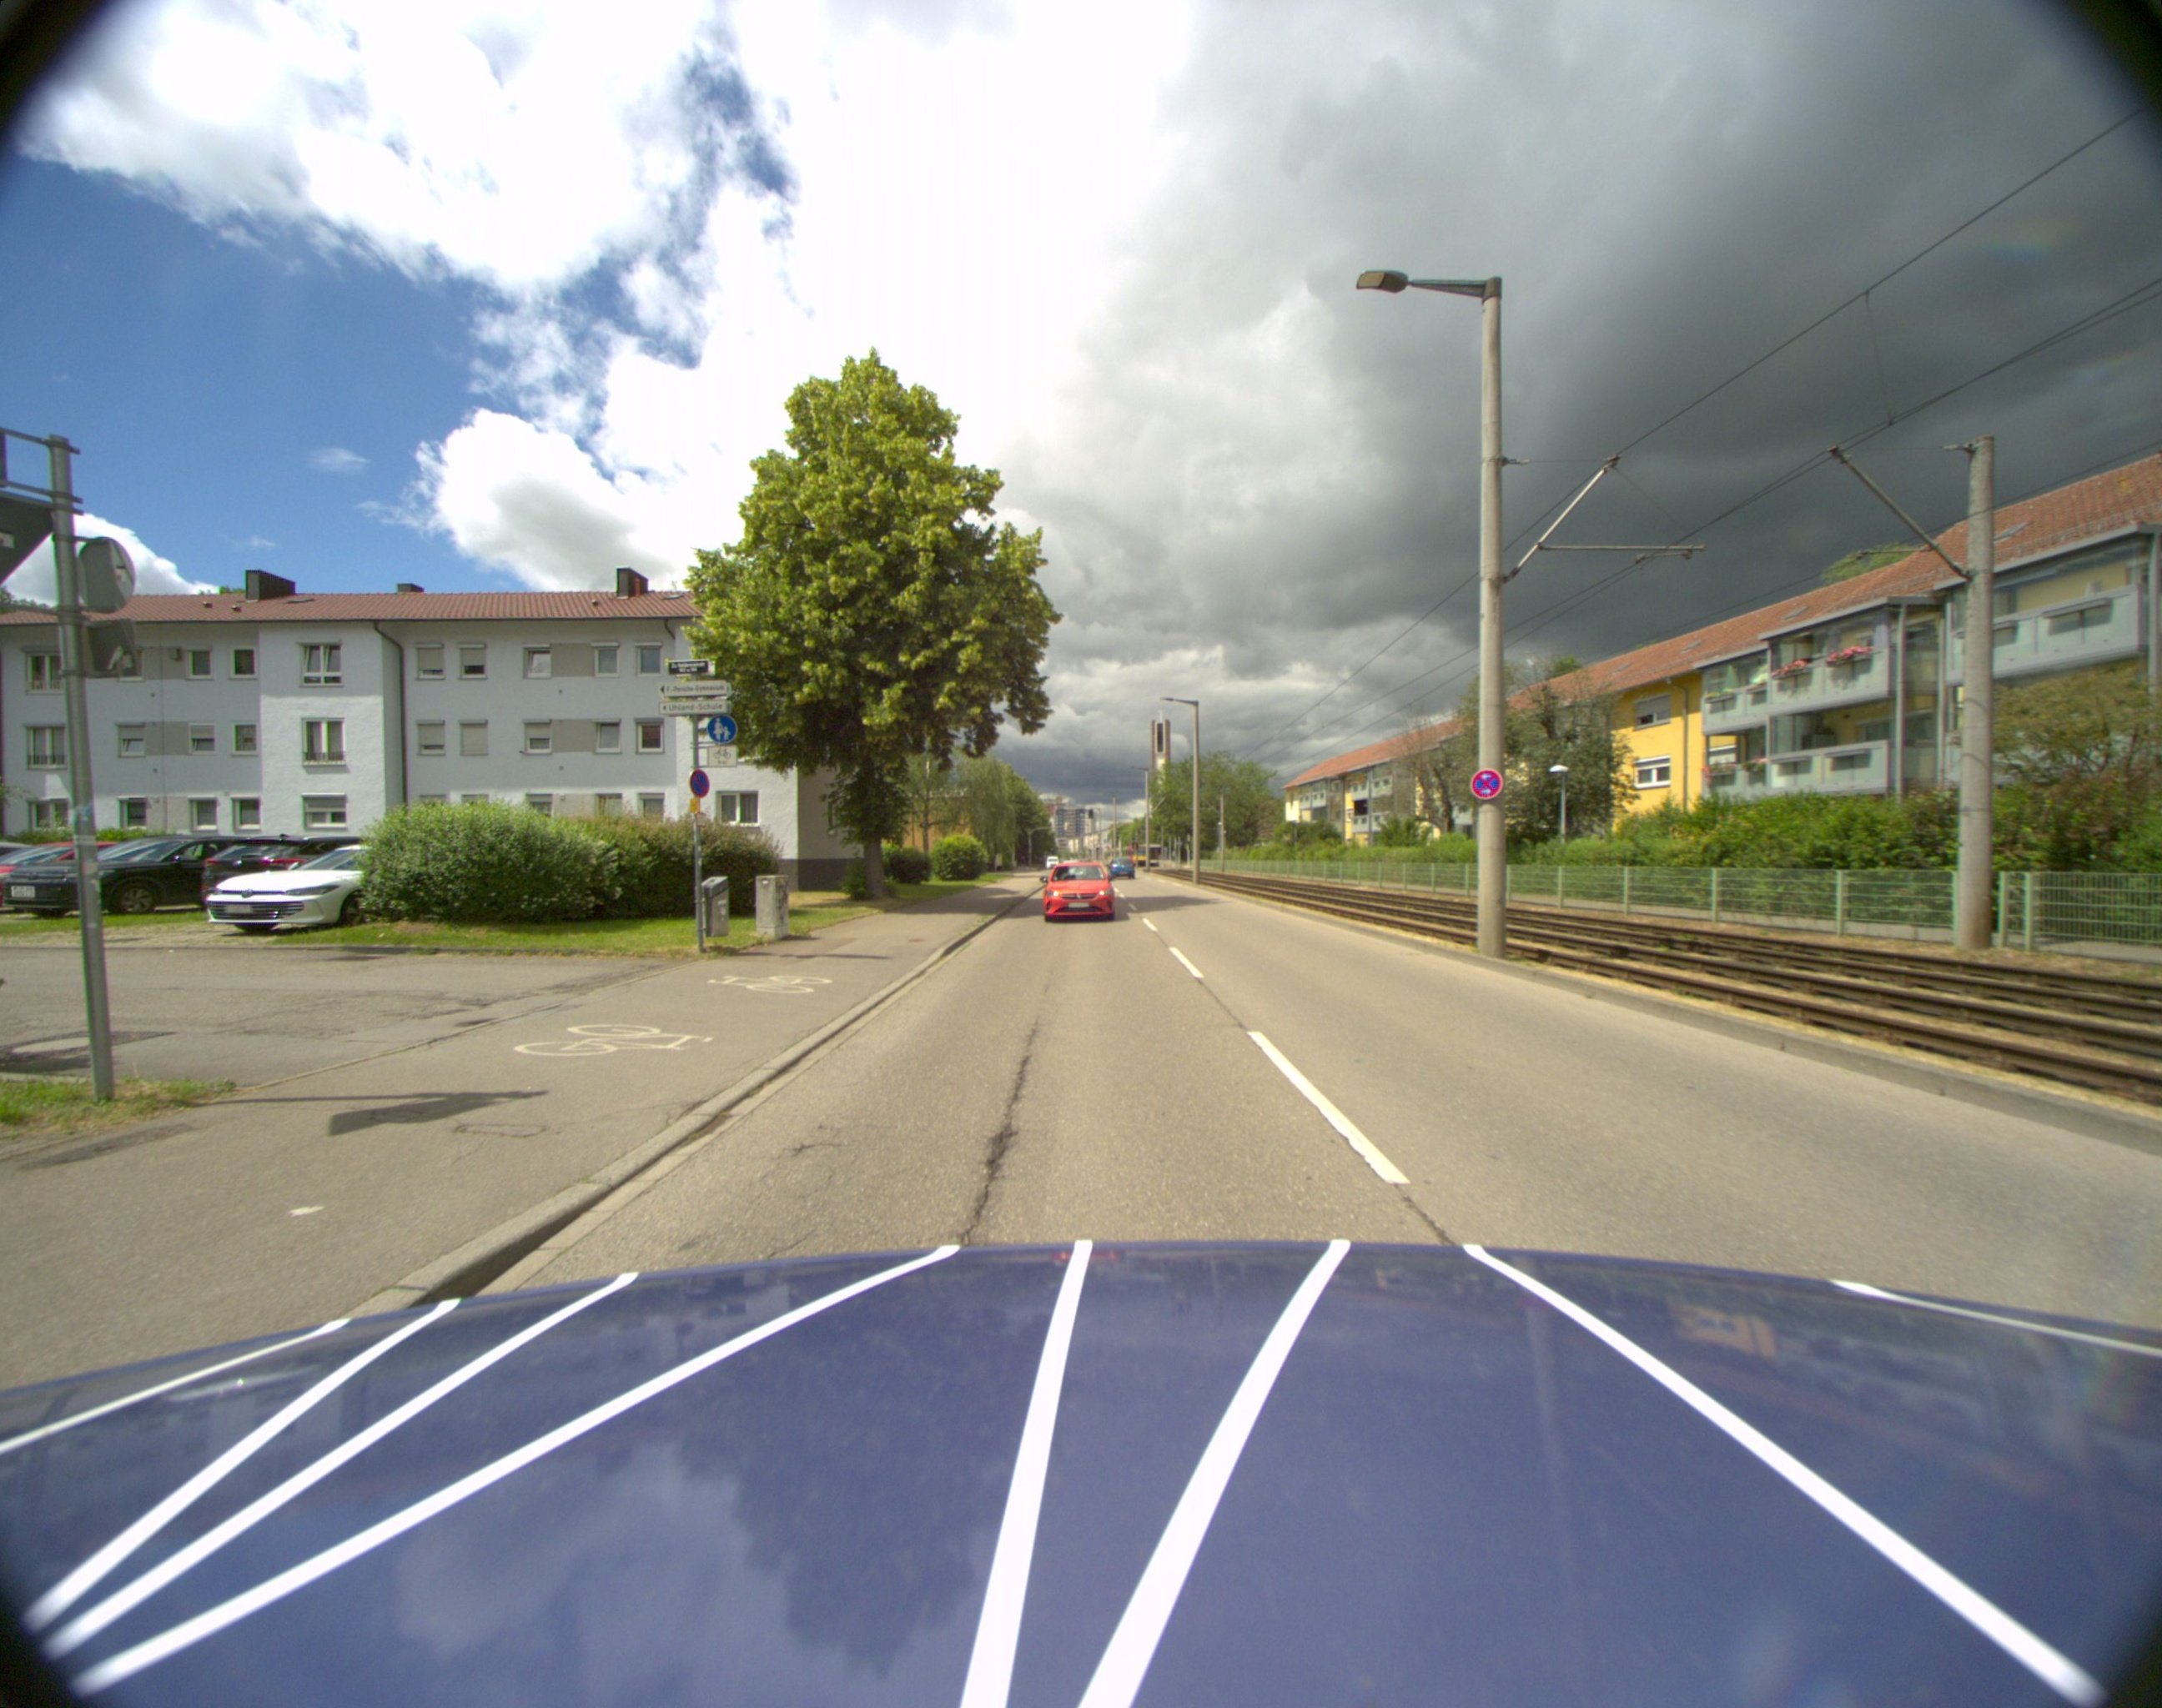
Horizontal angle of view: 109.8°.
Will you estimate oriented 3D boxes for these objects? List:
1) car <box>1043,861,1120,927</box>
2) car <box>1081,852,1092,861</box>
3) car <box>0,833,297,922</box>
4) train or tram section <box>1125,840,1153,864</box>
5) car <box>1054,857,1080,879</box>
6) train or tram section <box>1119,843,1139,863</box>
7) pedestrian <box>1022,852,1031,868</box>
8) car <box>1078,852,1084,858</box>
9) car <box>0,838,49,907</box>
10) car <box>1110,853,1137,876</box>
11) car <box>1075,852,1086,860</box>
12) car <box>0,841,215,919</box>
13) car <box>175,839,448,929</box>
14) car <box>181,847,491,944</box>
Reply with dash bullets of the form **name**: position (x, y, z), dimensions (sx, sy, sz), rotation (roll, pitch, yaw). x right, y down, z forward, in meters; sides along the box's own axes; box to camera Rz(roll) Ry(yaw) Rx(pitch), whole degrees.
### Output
- **car**: position (0.034, 0.952, 19.793), dimensions (1.756, 1.433, 4.226), rotation (-1, 0, 1)
- **car**: position (0.892, 0.408, 127.640), dimensions (1.633, 1.424, 4.166), rotation (-2, 0, -3)
- **car**: position (-19.125, 0.425, 15.736), dimensions (1.832, 1.620, 3.742), rotation (-1, 0, 1)
- **train or tram section**: position (10.118, -0.279, 133.994), dimensions (2.988, 3.840, 18.535), rotation (-2, 0, -1)
- **car**: position (-1.016, 0.985, 55.480), dimensions (1.756, 1.433, 4.226), rotation (-1, 0, 1)
- **train or tram section**: position (9.730, -0.220, 154.898), dimensions (2.988, 3.840, 11.784), rotation (-2, 0, -1)
- **pedestrian**: position (-6.130, 0.707, 85.036), dimensions (0.811, 1.761, 0.817), rotation (2, 1, 5)
- **car**: position (-0.026, 0.274, 218.976), dimensions (1.722, 1.433, 4.008), rotation (-1, 0, -2)
- **car**: position (-24.327, 0.388, 15.213), dimensions (1.770, 1.474, 4.079), rotation (1, 0, 1)
- **car**: position (2.946, 0.707, 52.857), dimensions (1.628, 1.516, 3.581), rotation (-1, 0, 0)
- **car**: position (-0.124, 0.404, 150.802), dimensions (1.765, 1.543, 3.999), rotation (-2, 0, -3)
- **car**: position (-21.862, 0.488, 16.565), dimensions (1.685, 1.505, 3.742), rotation (1, 0, 1)
- **car**: position (-15.407, 0.542, 15.545), dimensions (1.680, 1.559, 3.742), rotation (-2, 0, 1)
- **car**: position (-12.697, 0.621, 13.342), dimensions (1.680, 1.407, 3.742), rotation (-2, 0, 1)
